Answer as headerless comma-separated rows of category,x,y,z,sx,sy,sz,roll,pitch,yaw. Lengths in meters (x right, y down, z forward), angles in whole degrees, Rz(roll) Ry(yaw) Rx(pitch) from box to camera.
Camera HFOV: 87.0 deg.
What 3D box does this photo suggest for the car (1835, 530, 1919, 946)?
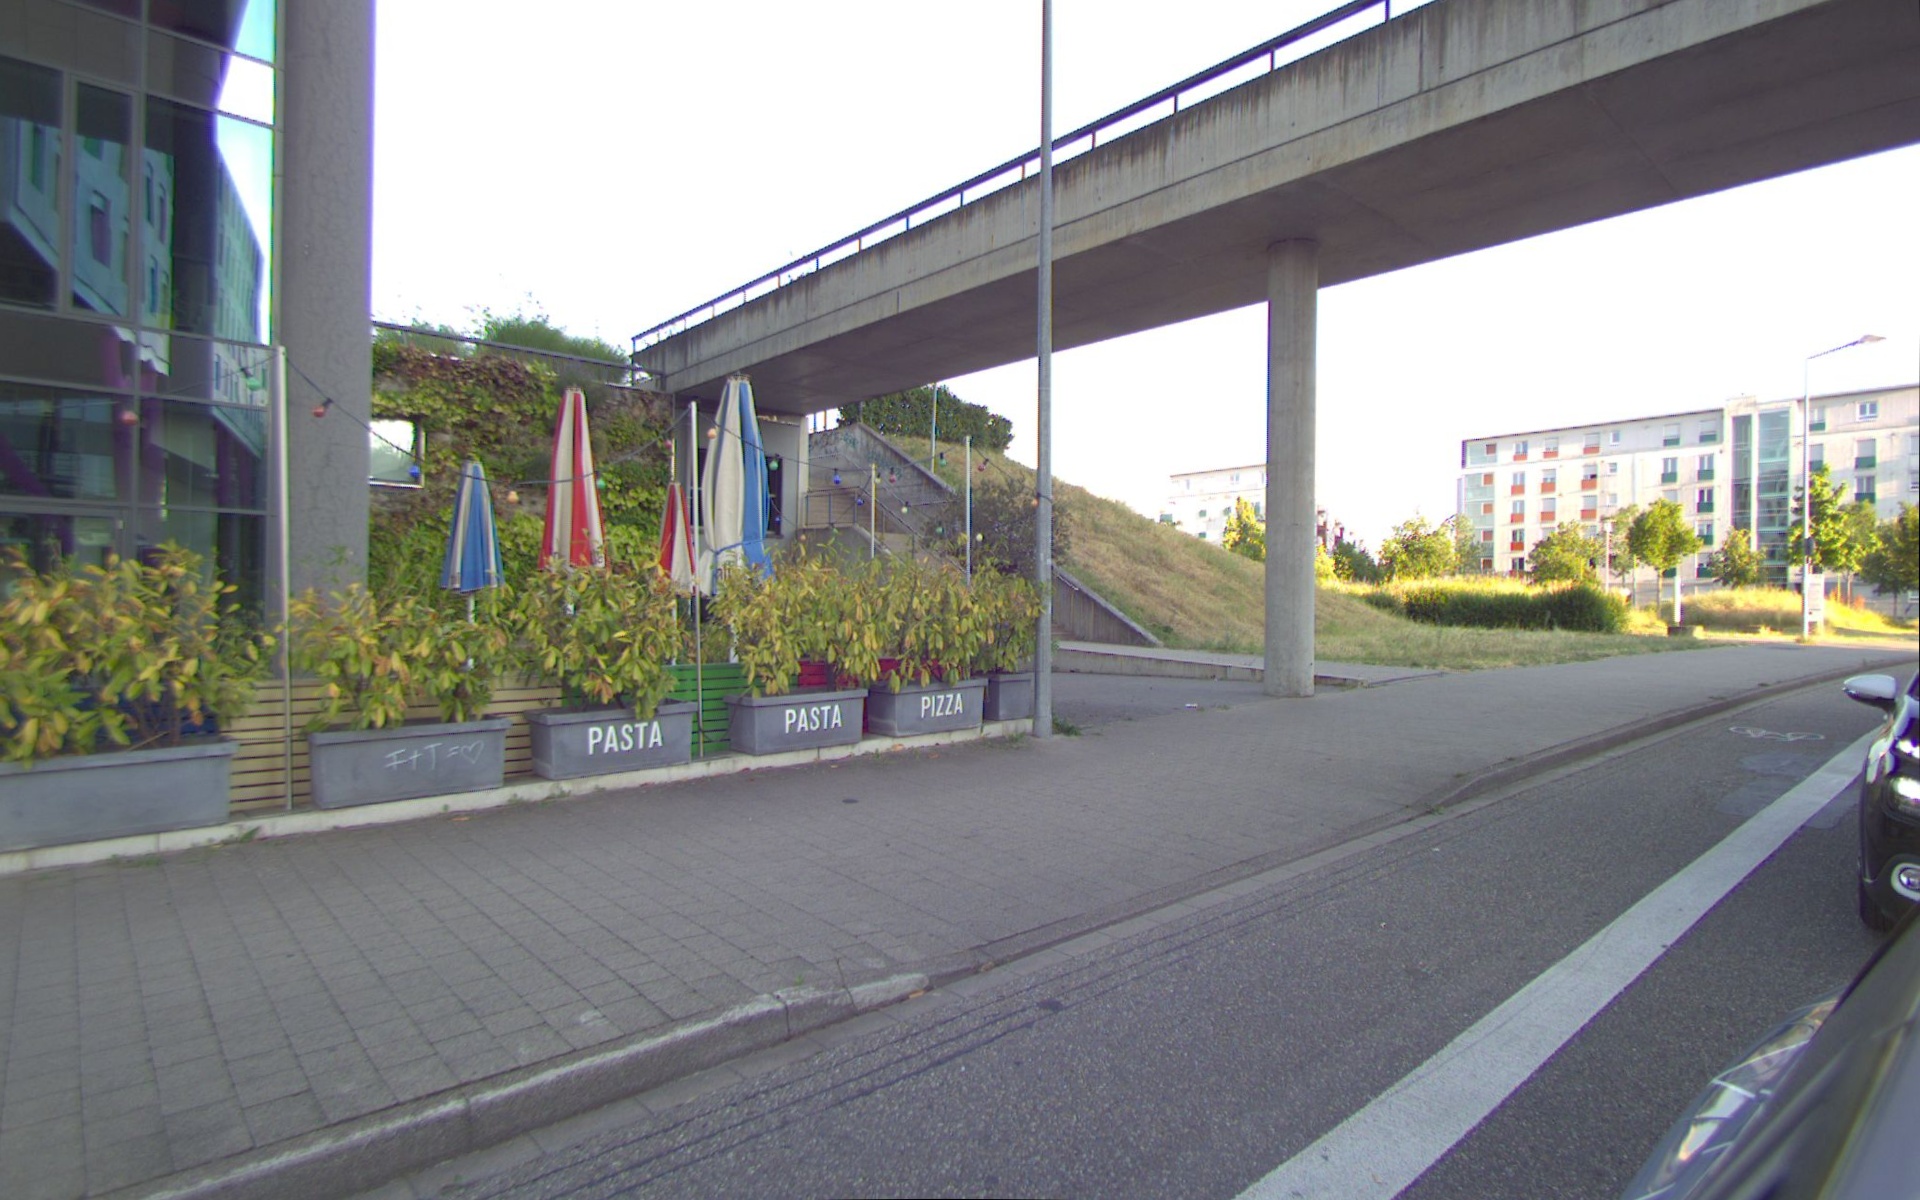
car,5.519,0.535,4.738,4.003,1.572,1.757,0,0,-43
